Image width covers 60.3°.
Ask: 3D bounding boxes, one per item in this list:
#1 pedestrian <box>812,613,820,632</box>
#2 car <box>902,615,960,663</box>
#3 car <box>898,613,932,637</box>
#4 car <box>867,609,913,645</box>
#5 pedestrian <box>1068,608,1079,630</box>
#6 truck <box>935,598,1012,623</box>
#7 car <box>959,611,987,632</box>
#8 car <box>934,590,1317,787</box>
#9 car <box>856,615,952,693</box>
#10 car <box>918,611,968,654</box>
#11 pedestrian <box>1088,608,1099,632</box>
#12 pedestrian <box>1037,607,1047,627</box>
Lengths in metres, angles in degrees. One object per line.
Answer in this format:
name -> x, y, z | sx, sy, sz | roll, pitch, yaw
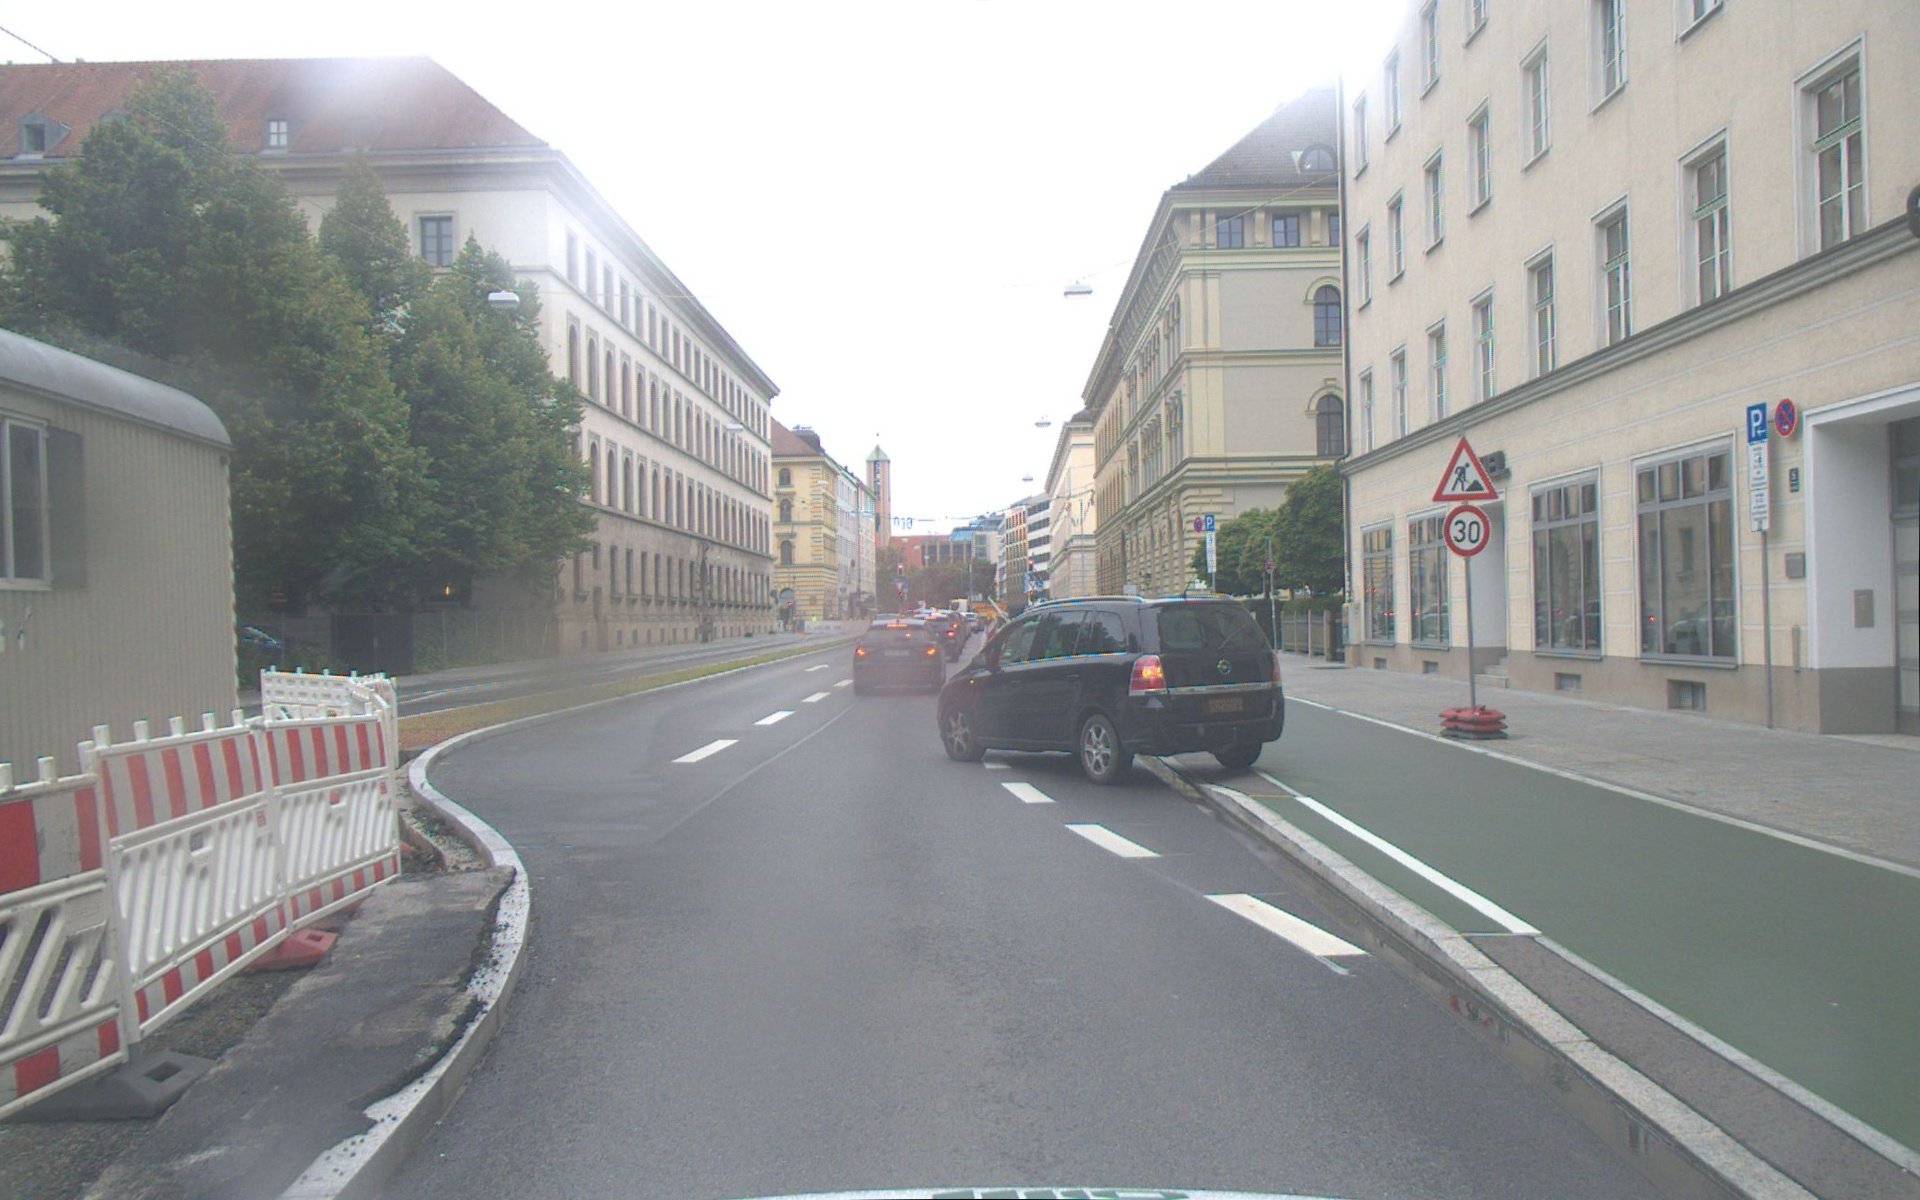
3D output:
pedestrian -> -14.389, 2.230, 165.046 | 0.642, 1.836, 0.727 | -1, -1, 0
car -> -0.880, 1.201, 52.000 | 1.694, 1.427, 4.000 | 0, 0, 1
car -> -2.899, 1.593, 107.640 | 1.952, 1.469, 4.001 | -1, 0, 1
car -> -3.428, 1.313, 81.142 | 1.952, 1.656, 4.001 | -1, 0, 1
pedestrian -> 8.408, 1.395, 122.501 | 0.695, 1.646, 0.754 | -1, -1, 0
truck -> 1.330, 0.978, 158.262 | 7.231, 2.292, 2.180 | 0, -1, 3
car -> 1.002, 1.549, 121.174 | 1.952, 1.469, 4.001 | -1, 0, 1
car -> 1.453, 0.753, 16.042 | 1.746, 1.644, 3.990 | 0, 0, -30
car -> -1.049, 1.023, 32.680 | 1.694, 1.427, 4.000 | 0, 0, 1
car -> -0.596, 1.160, 60.230 | 1.694, 1.486, 4.000 | 0, 0, 1
pedestrian -> 9.485, 1.413, 117.412 | 0.695, 1.646, 0.754 | -1, -1, 0
pedestrian -> 6.933, 1.421, 140.361 | 0.736, 1.646, 0.713 | -1, -1, 9
